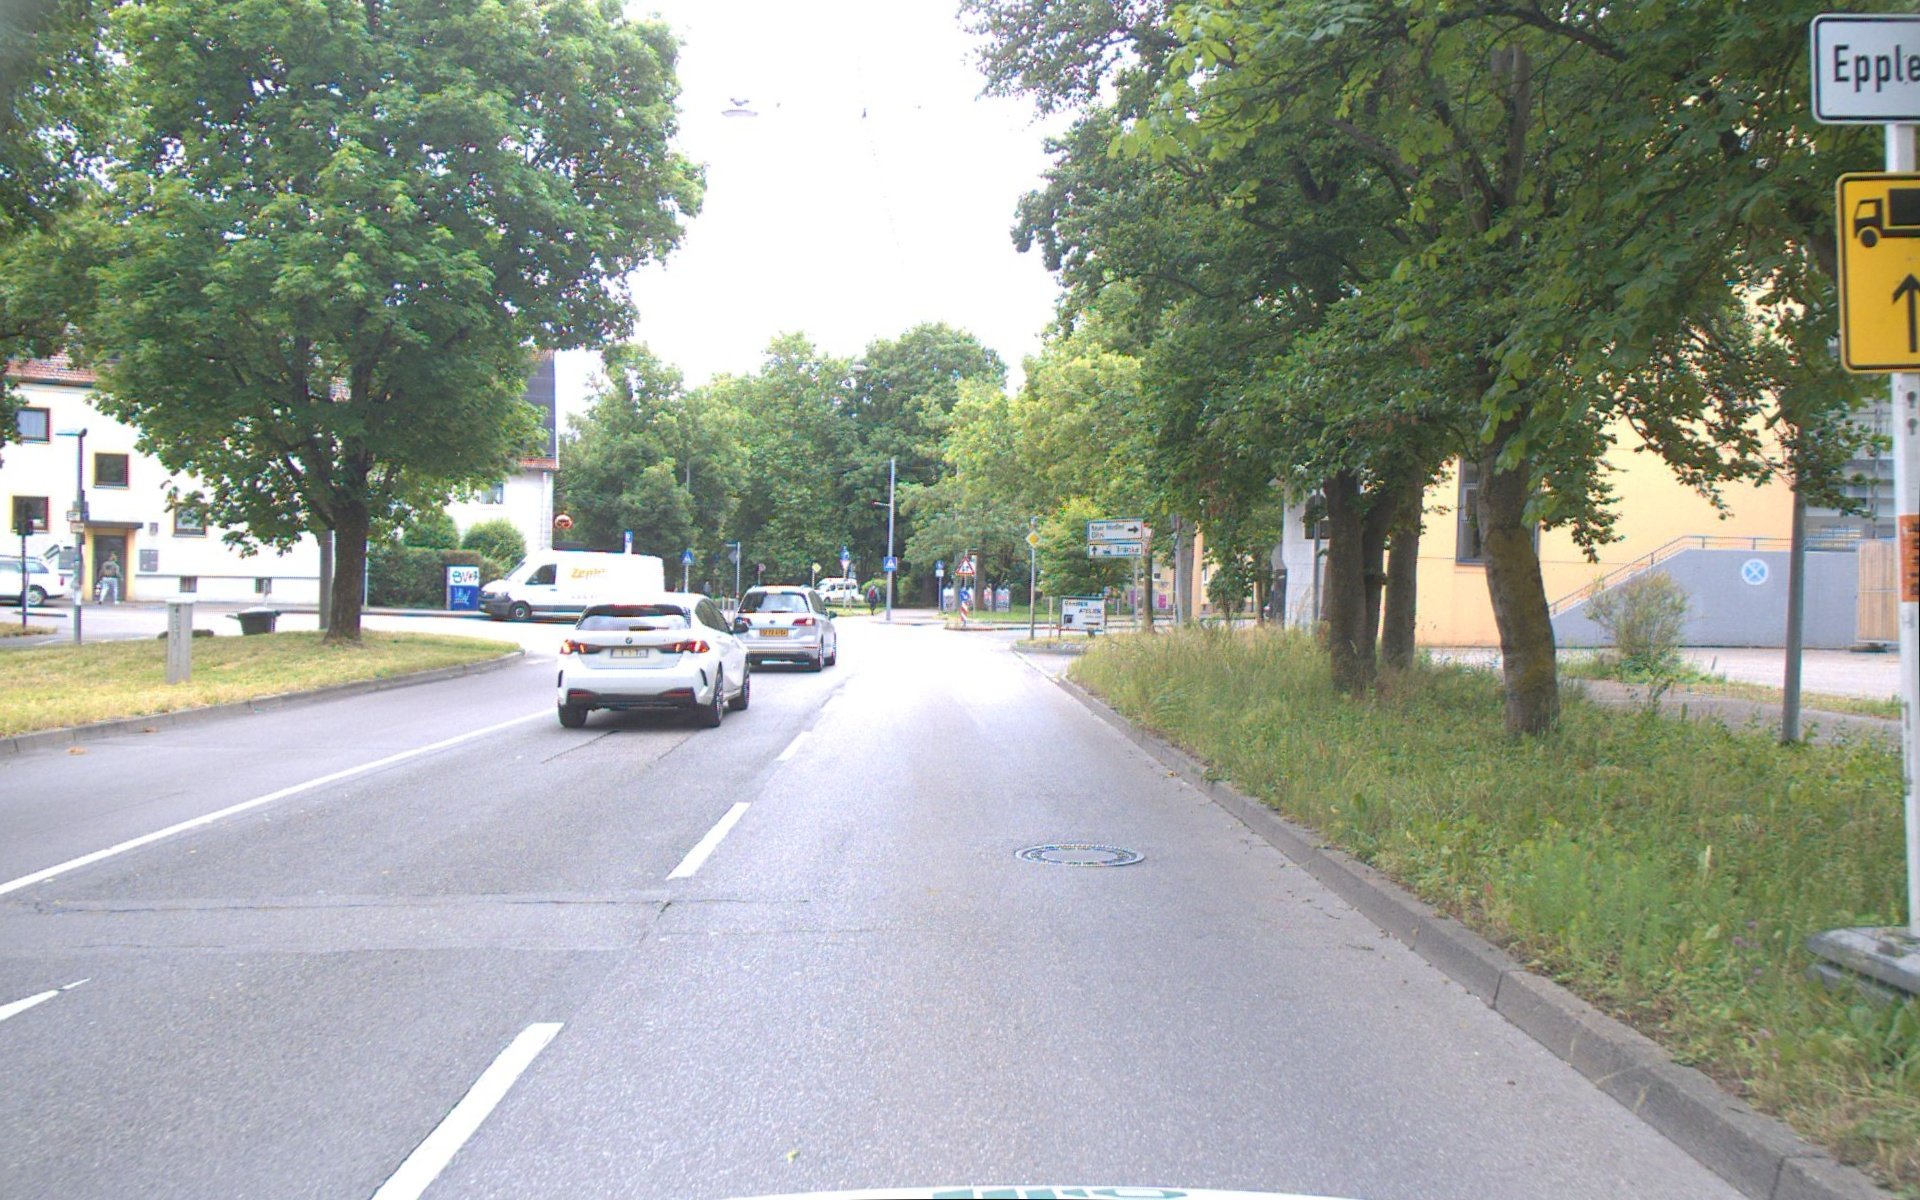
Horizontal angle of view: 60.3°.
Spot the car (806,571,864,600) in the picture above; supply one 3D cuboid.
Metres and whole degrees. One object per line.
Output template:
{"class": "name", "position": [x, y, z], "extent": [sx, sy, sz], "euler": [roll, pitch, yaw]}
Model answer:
{"class": "car", "position": [-11.426, -1.305, 151.410], "extent": [2.097, 2.337, 5.362], "euler": [5, 1, 37]}

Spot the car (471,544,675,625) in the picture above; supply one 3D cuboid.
{"class": "car", "position": [-13.923, -0.533, 59.866], "extent": [6.910, 2.565, 2.057], "euler": [2, 2, -39]}

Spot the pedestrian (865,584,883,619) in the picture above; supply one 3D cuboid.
{"class": "pedestrian", "position": [-4.929, 0.087, 94.945], "extent": [0.905, 1.903, 1.018], "euler": [-2, 3, -5]}

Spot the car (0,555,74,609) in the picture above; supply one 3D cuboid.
{"class": "car", "position": [-29.003, -0.599, 49.313], "extent": [4.278, 1.465, 1.697], "euler": [3, 1, -41]}

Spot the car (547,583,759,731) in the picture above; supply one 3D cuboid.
{"class": "car", "position": [-3.510, 0.598, 19.648], "extent": [1.759, 1.544, 4.206], "euler": [-1, 0, -1]}

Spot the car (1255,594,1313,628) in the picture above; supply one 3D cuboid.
{"class": "car", "position": [16.633, 0.579, 84.828], "extent": [1.838, 1.595, 4.014], "euler": [5, 1, 27]}

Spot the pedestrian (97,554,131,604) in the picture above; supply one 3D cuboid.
{"class": "pedestrian", "position": [-27.178, -0.675, 53.142], "extent": [0.742, 1.560, 0.706], "euler": [3, 1, -40]}

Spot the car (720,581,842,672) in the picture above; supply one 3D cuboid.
{"class": "car", "position": [-3.413, 0.461, 32.276], "extent": [1.883, 1.601, 4.000], "euler": [1, 1, 0]}
